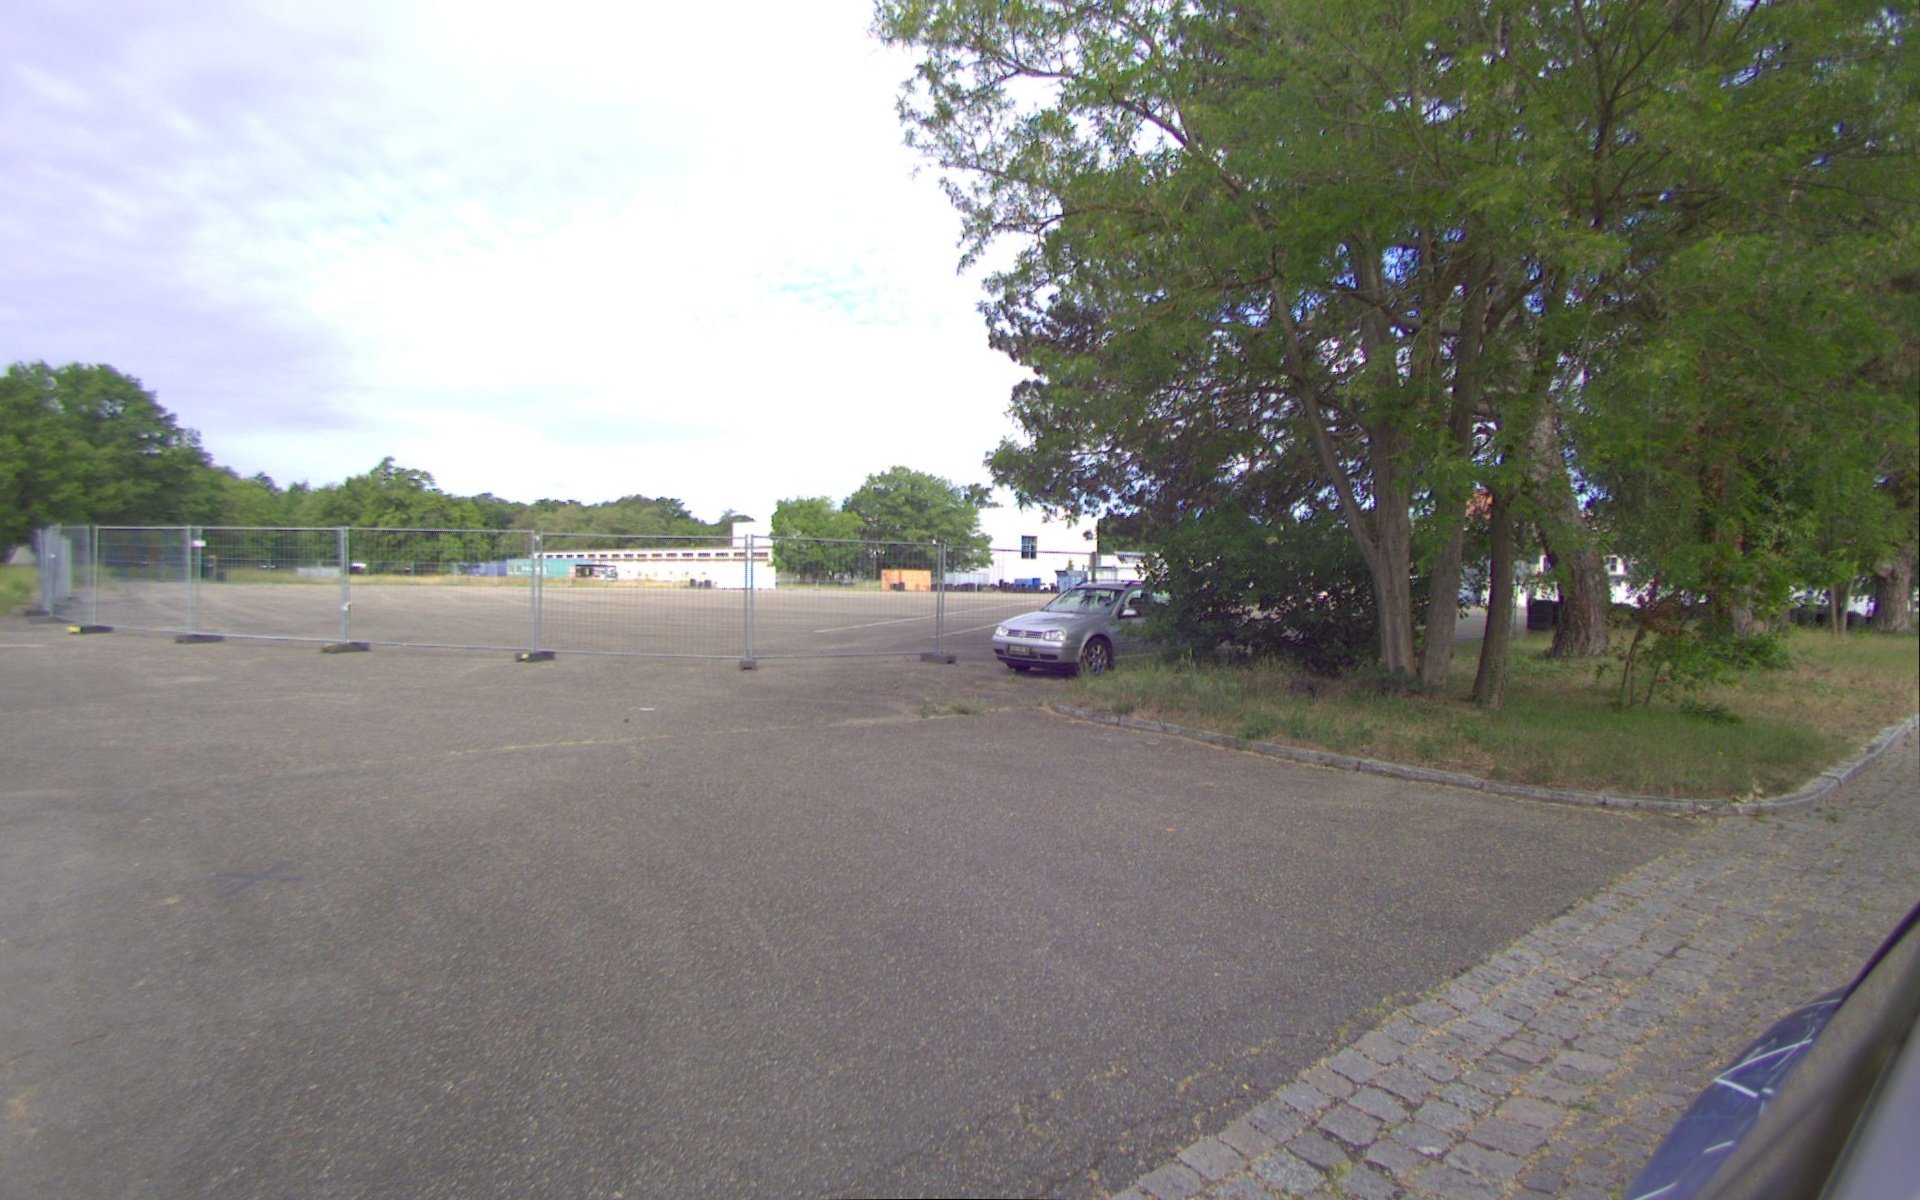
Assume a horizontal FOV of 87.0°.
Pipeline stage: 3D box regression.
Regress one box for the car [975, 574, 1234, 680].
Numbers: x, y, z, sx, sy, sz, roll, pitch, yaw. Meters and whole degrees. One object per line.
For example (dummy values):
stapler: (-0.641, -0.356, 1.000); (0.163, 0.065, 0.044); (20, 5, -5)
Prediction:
car: (2.418, 0.368, 16.293); (4.251, 1.466, 1.758); (0, 2, -41)
